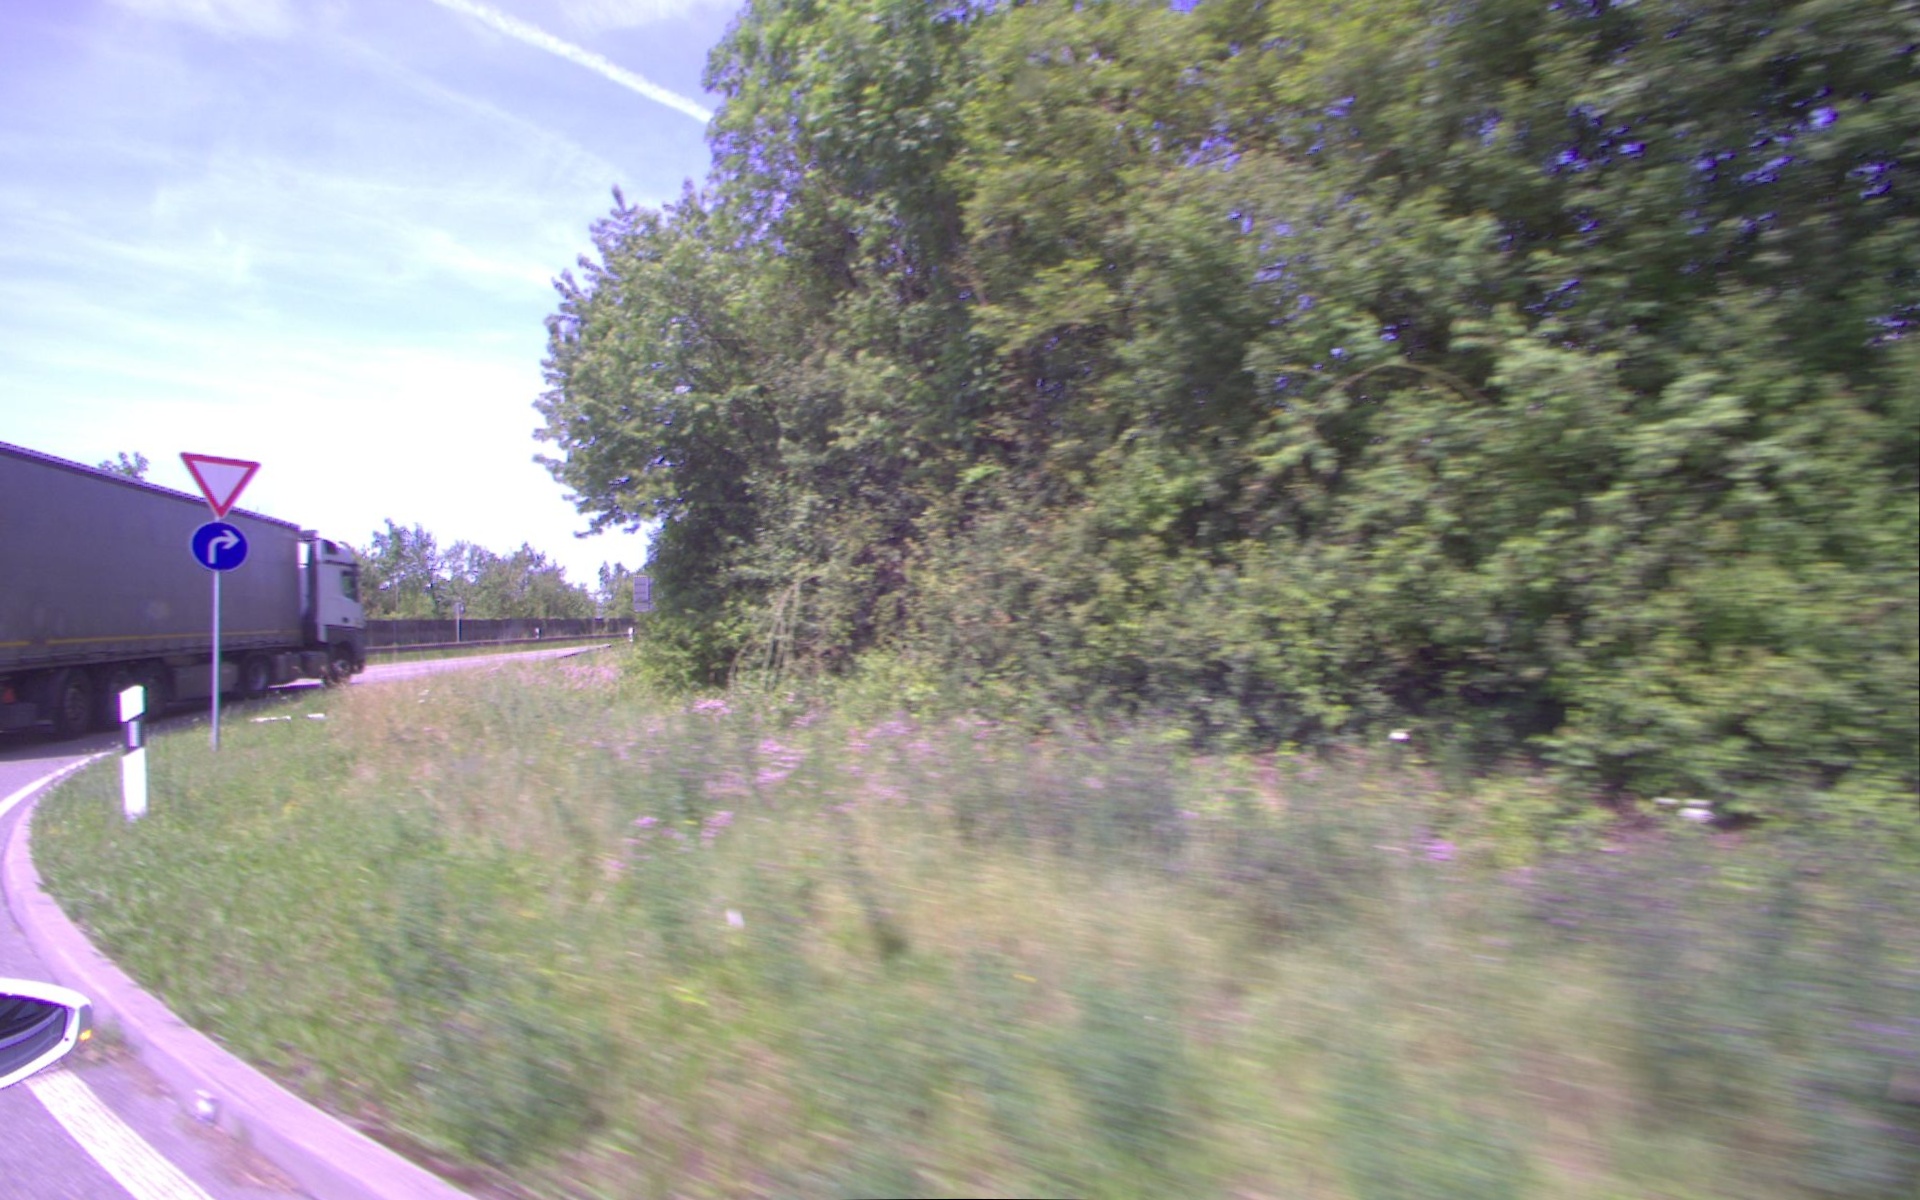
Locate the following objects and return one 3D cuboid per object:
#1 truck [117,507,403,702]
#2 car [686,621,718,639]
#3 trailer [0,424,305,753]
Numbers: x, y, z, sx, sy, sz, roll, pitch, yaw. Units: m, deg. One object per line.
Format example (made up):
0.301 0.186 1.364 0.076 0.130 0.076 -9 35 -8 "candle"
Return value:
-17.438 0.198 25.698 3.103 4.279 7.121 -1 -1 -8 "truck"
-21.399 2.477 83.172 1.639 1.506 4.001 -1 -1 -1 "car"
-15.190 0.037 17.456 2.984 4.086 13.326 -1 -1 -19 "trailer"
